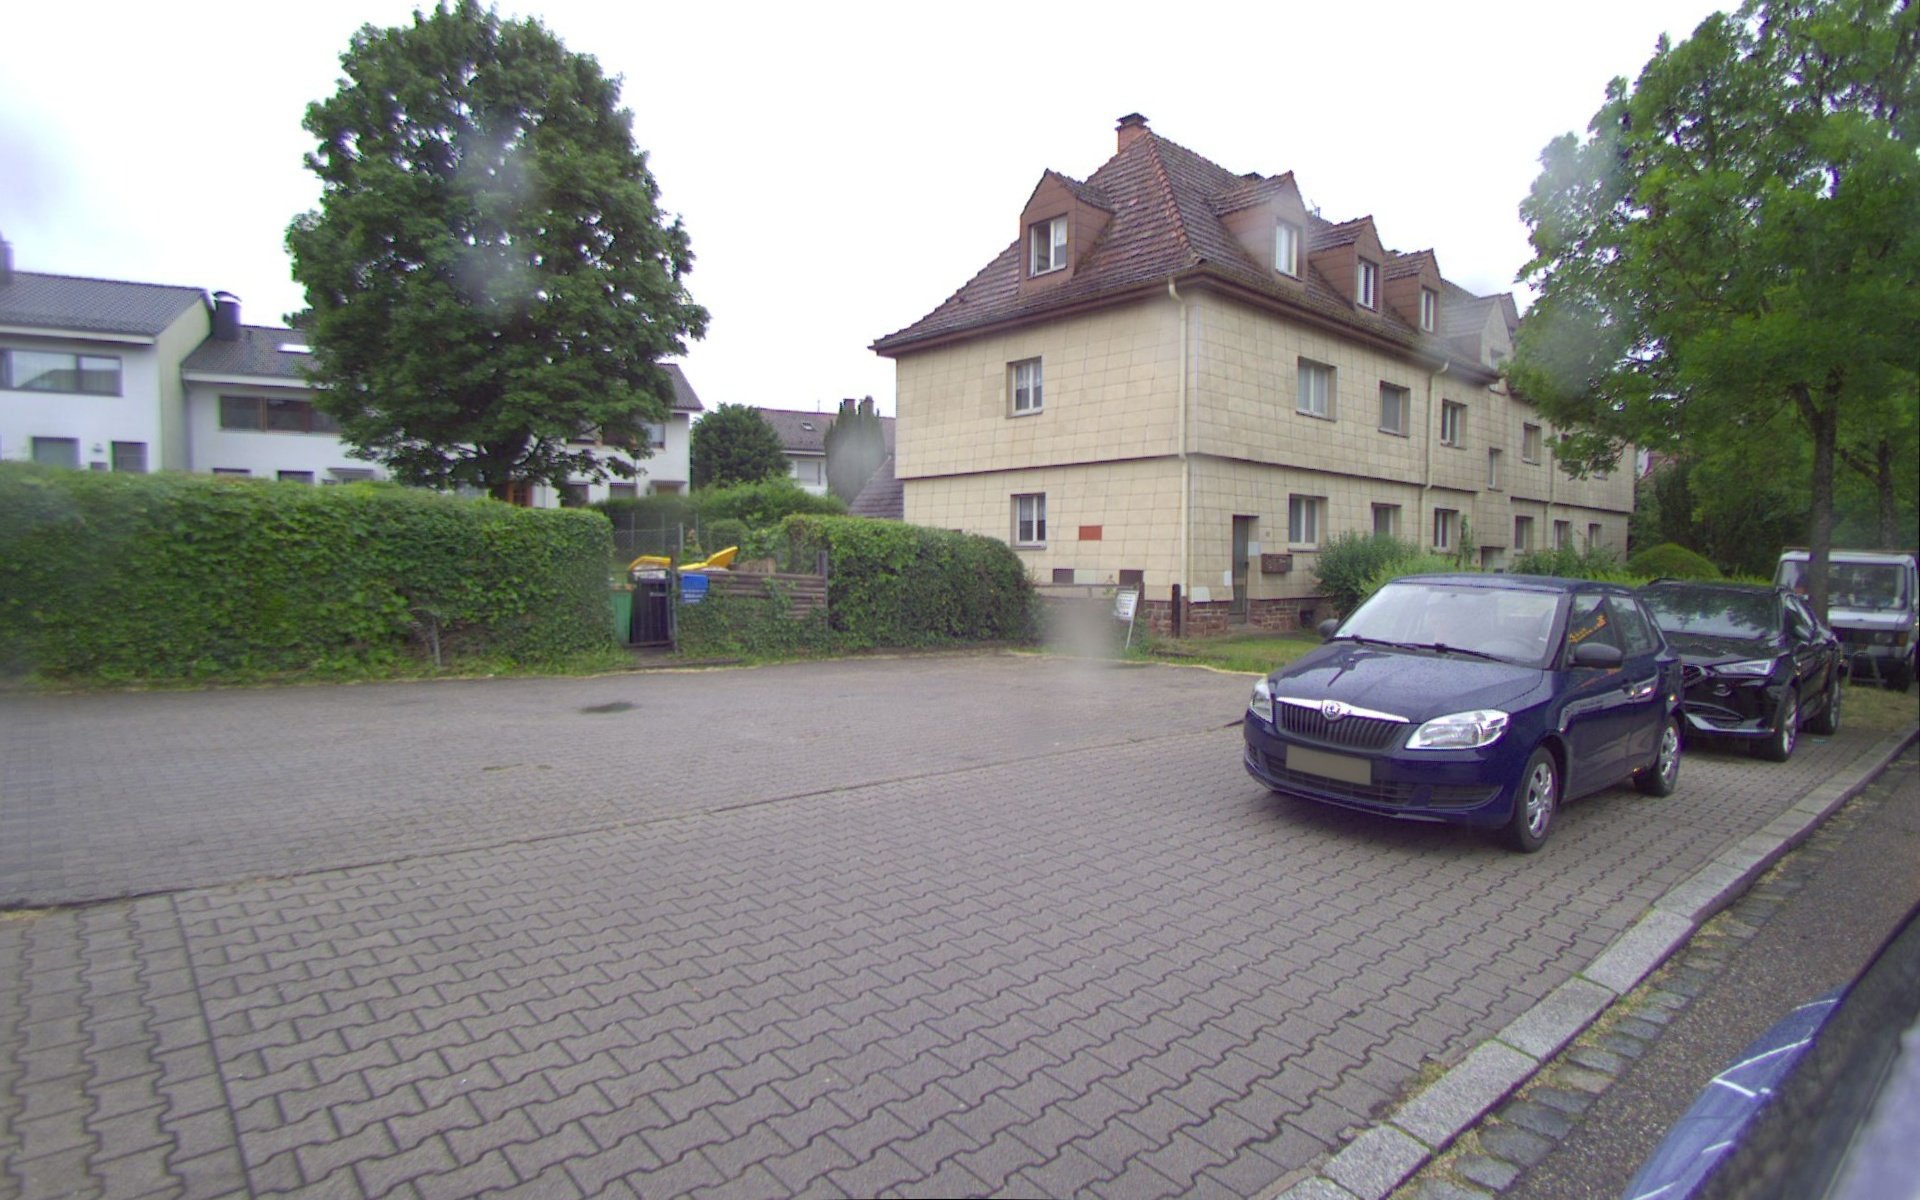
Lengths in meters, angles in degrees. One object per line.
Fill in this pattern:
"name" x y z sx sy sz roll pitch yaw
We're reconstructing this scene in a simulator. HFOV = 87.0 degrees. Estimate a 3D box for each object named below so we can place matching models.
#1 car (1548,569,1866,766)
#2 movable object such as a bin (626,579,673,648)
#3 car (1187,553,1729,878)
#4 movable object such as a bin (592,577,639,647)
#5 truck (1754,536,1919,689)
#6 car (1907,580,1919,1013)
"car" 7.433 0.488 9.931 3.932 1.481 1.719 -1 4 -42
"movable object such as a bin" -4.436 0.183 14.467 0.441 0.954 0.539 0 0 -45
"car" 3.398 0.481 6.574 3.930 1.441 1.719 -1 4 -41
"movable object such as a bin" -4.802 0.158 14.104 0.441 0.954 0.539 0 0 -45
"truck" 15.590 0.154 17.302 5.653 2.224 1.998 0 2 -40
"car" 5.628 0.690 4.310 4.240 1.548 1.881 0 -1 -41
